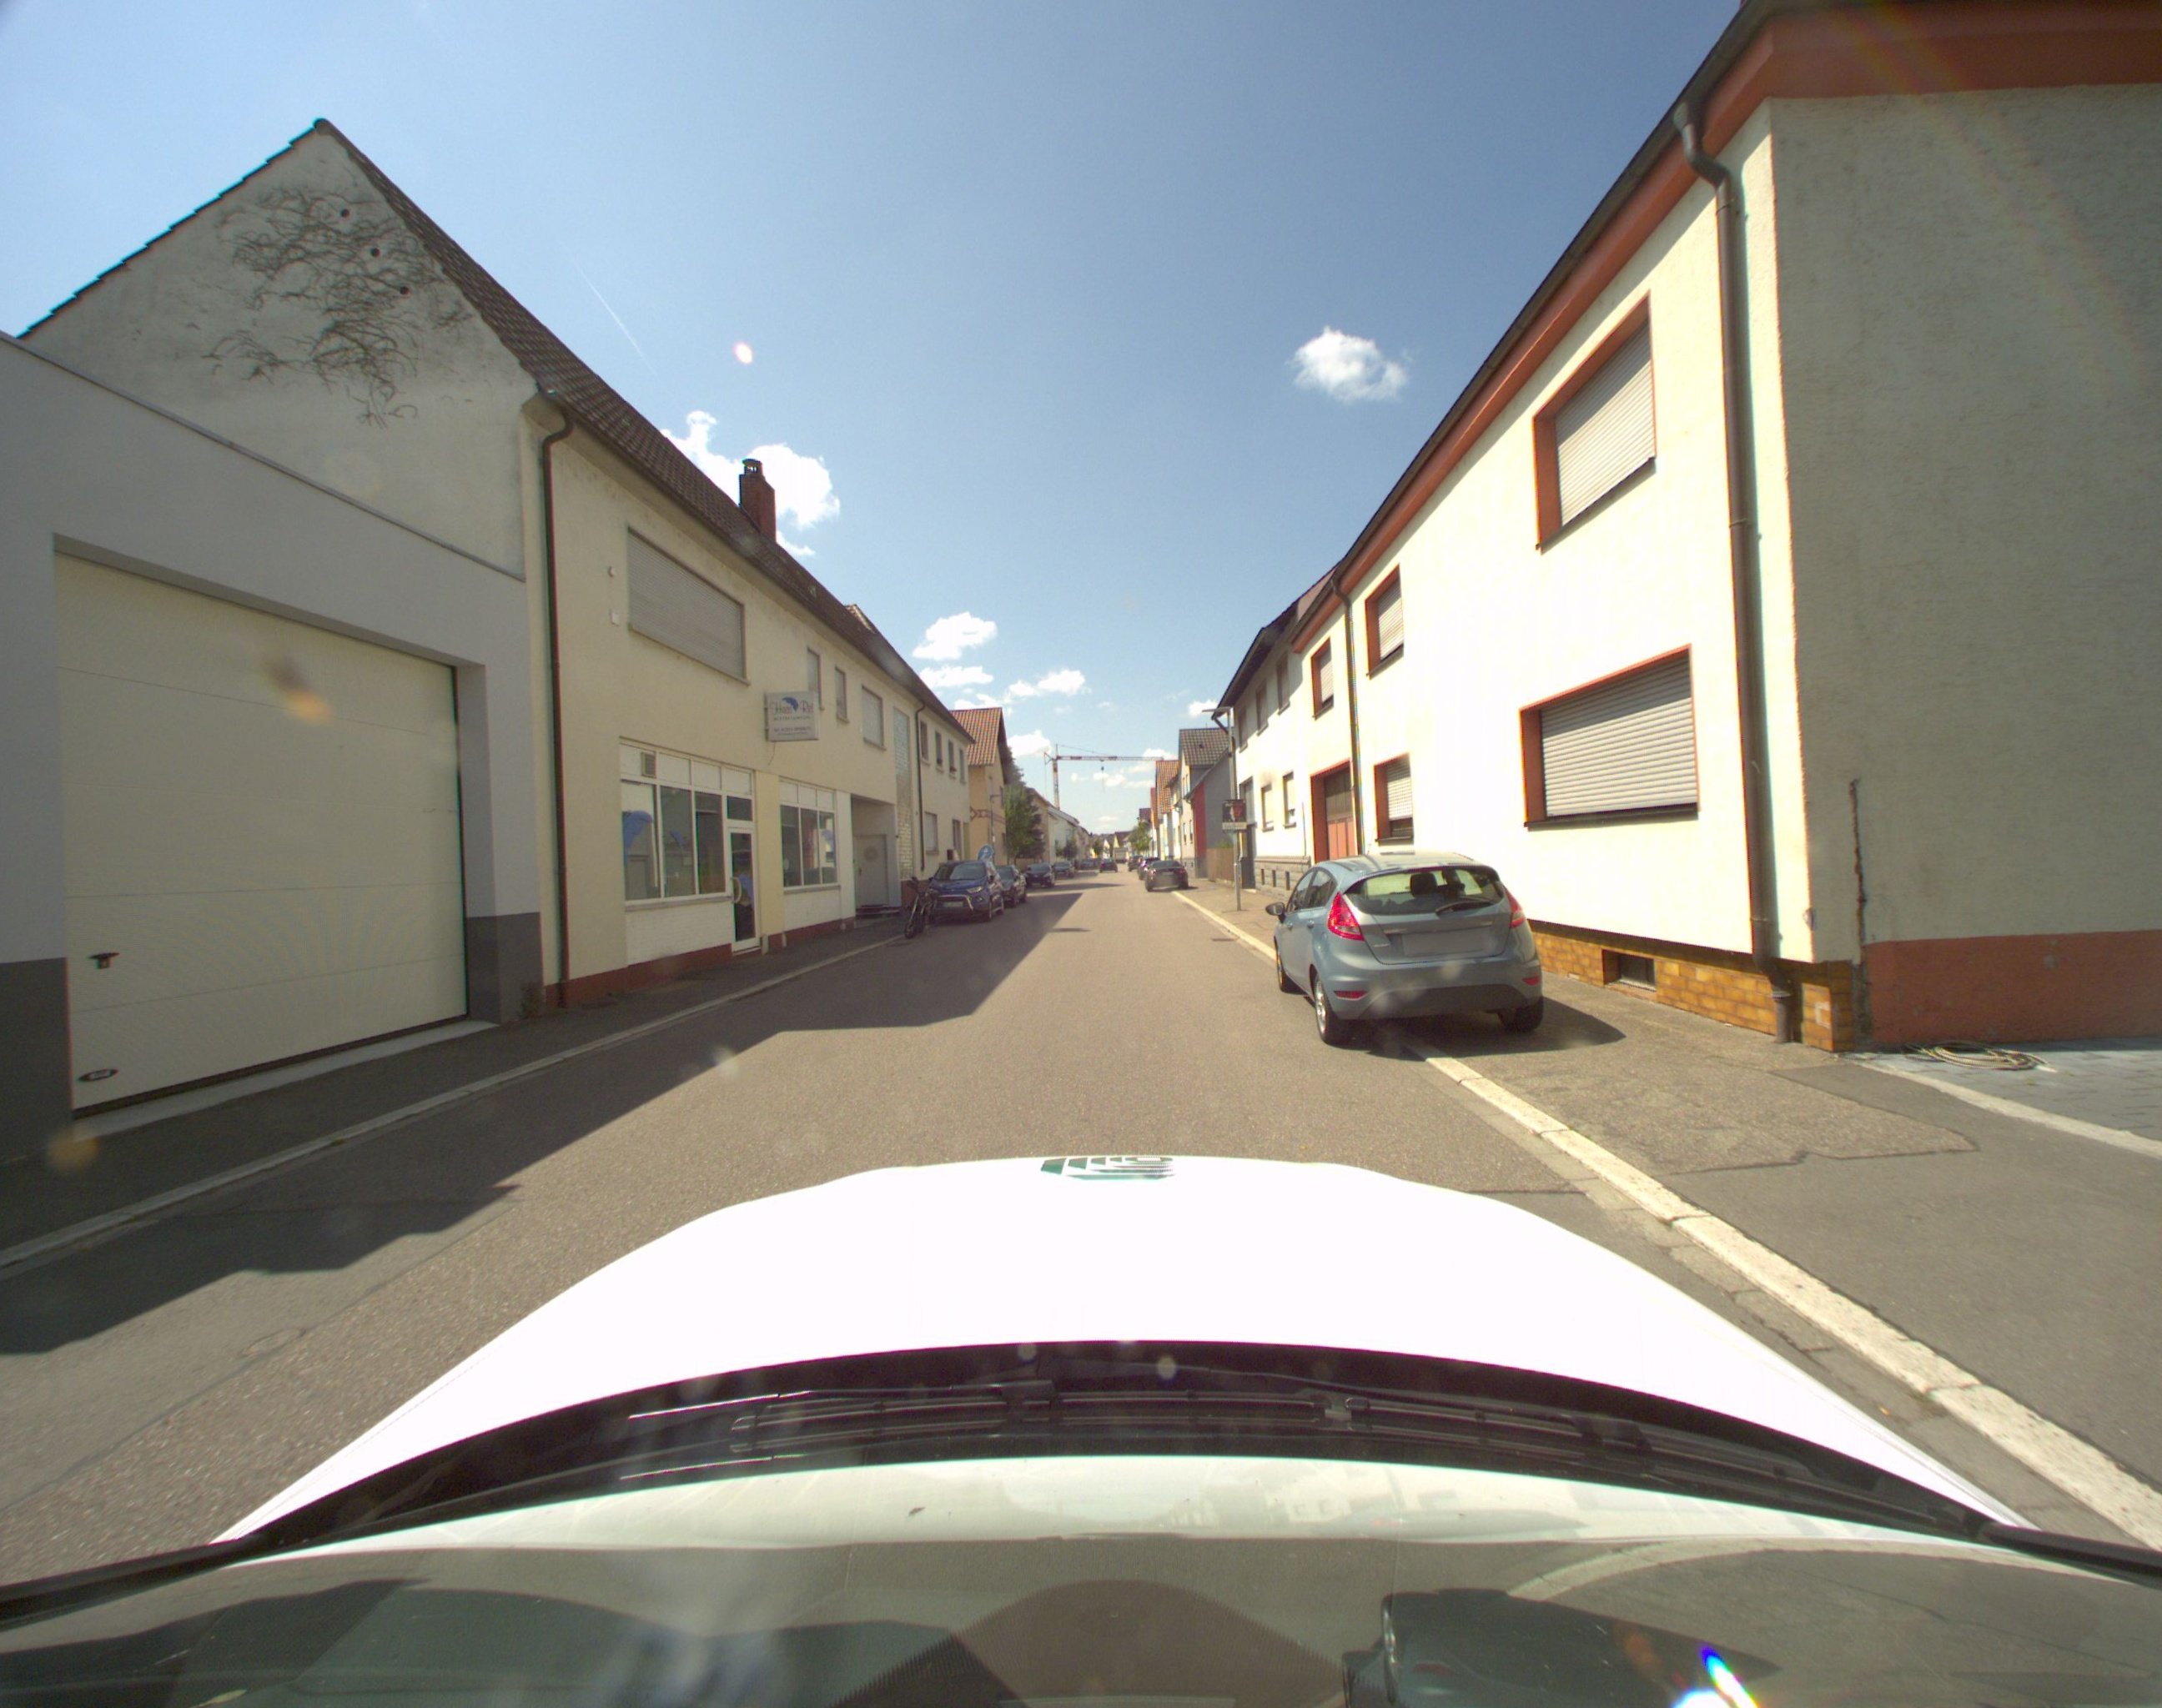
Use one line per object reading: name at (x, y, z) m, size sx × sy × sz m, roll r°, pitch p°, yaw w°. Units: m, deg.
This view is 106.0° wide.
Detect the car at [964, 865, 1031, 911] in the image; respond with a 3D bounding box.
car at (-2.888, 1.146, 29.051) m, size 1.691 × 1.411 × 4.393 m, roll -3°, pitch 0°, yaw 3°

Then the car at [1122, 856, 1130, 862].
car at (12.257, 1.441, 223.037) m, size 1.777 × 1.564 × 4.337 m, roll -4°, pitch -1°, yaw 1°

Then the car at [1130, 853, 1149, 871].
car at (6.092, 0.856, 85.117) m, size 1.723 × 1.717 × 4.275 m, roll -3°, pitch 0°, yaw 0°

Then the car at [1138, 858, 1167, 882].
car at (4.622, 1.014, 52.897) m, size 1.682 × 1.422 × 3.659 m, roll -3°, pitch 0°, yaw 2°

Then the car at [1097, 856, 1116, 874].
car at (2.645, 1.155, 84.501) m, size 1.776 × 1.753 × 4.001 m, roll -4°, pitch -1°, yaw 1°

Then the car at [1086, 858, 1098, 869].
car at (1.746, 1.434, 124.012) m, size 1.647 × 1.609 × 4.063 m, roll -3°, pitch 0°, yaw 2°

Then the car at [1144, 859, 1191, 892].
car at (3.798, 0.908, 36.256) m, size 1.808 × 1.276 × 4.150 m, roll -3°, pitch 0°, yaw 3°

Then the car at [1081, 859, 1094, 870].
car at (0.934, 1.472, 117.316) m, size 1.752 × 1.525 × 4.291 m, roll -3°, pitch 0°, yaw 2°

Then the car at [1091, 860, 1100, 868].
car at (2.957, 1.965, 163.410) m, size 1.716 × 1.555 × 4.175 m, roll -2°, pitch 0°, yaw 3°

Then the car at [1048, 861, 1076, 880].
car at (-1.544, 1.358, 67.869) m, size 1.760 × 1.460 × 4.441 m, roll -3°, pitch 0°, yaw 4°

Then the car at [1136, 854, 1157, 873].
car at (5.832, 0.819, 72.804) m, size 1.611 × 1.495 × 3.974 m, roll -6°, pitch 0°, yaw 2°

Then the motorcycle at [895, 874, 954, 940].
motorcycle at (-3.493, 1.150, 18.367) m, size 0.805 × 1.312 × 2.106 m, roll -3°, pitch 0°, yaw 2°

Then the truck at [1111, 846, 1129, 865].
truck at (8.408, 0.366, 176.703) m, size 3.367 × 3.865 × 13.928 m, roll -4°, pitch -1°, yaw 1°

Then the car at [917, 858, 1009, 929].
car at (-3.146, 0.999, 22.524) m, size 1.711 × 1.639 × 4.150 m, roll -5°, pitch 0°, yaw 1°

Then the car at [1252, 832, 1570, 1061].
car at (2.749, 0.672, 7.731) m, size 1.713 × 1.481 × 3.756 m, roll -6°, pitch -1°, yaw 6°

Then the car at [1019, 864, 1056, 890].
car at (-2.464, 1.284, 47.071) m, size 1.754 × 1.374 × 4.068 m, roll -2°, pitch 0°, yaw 2°
